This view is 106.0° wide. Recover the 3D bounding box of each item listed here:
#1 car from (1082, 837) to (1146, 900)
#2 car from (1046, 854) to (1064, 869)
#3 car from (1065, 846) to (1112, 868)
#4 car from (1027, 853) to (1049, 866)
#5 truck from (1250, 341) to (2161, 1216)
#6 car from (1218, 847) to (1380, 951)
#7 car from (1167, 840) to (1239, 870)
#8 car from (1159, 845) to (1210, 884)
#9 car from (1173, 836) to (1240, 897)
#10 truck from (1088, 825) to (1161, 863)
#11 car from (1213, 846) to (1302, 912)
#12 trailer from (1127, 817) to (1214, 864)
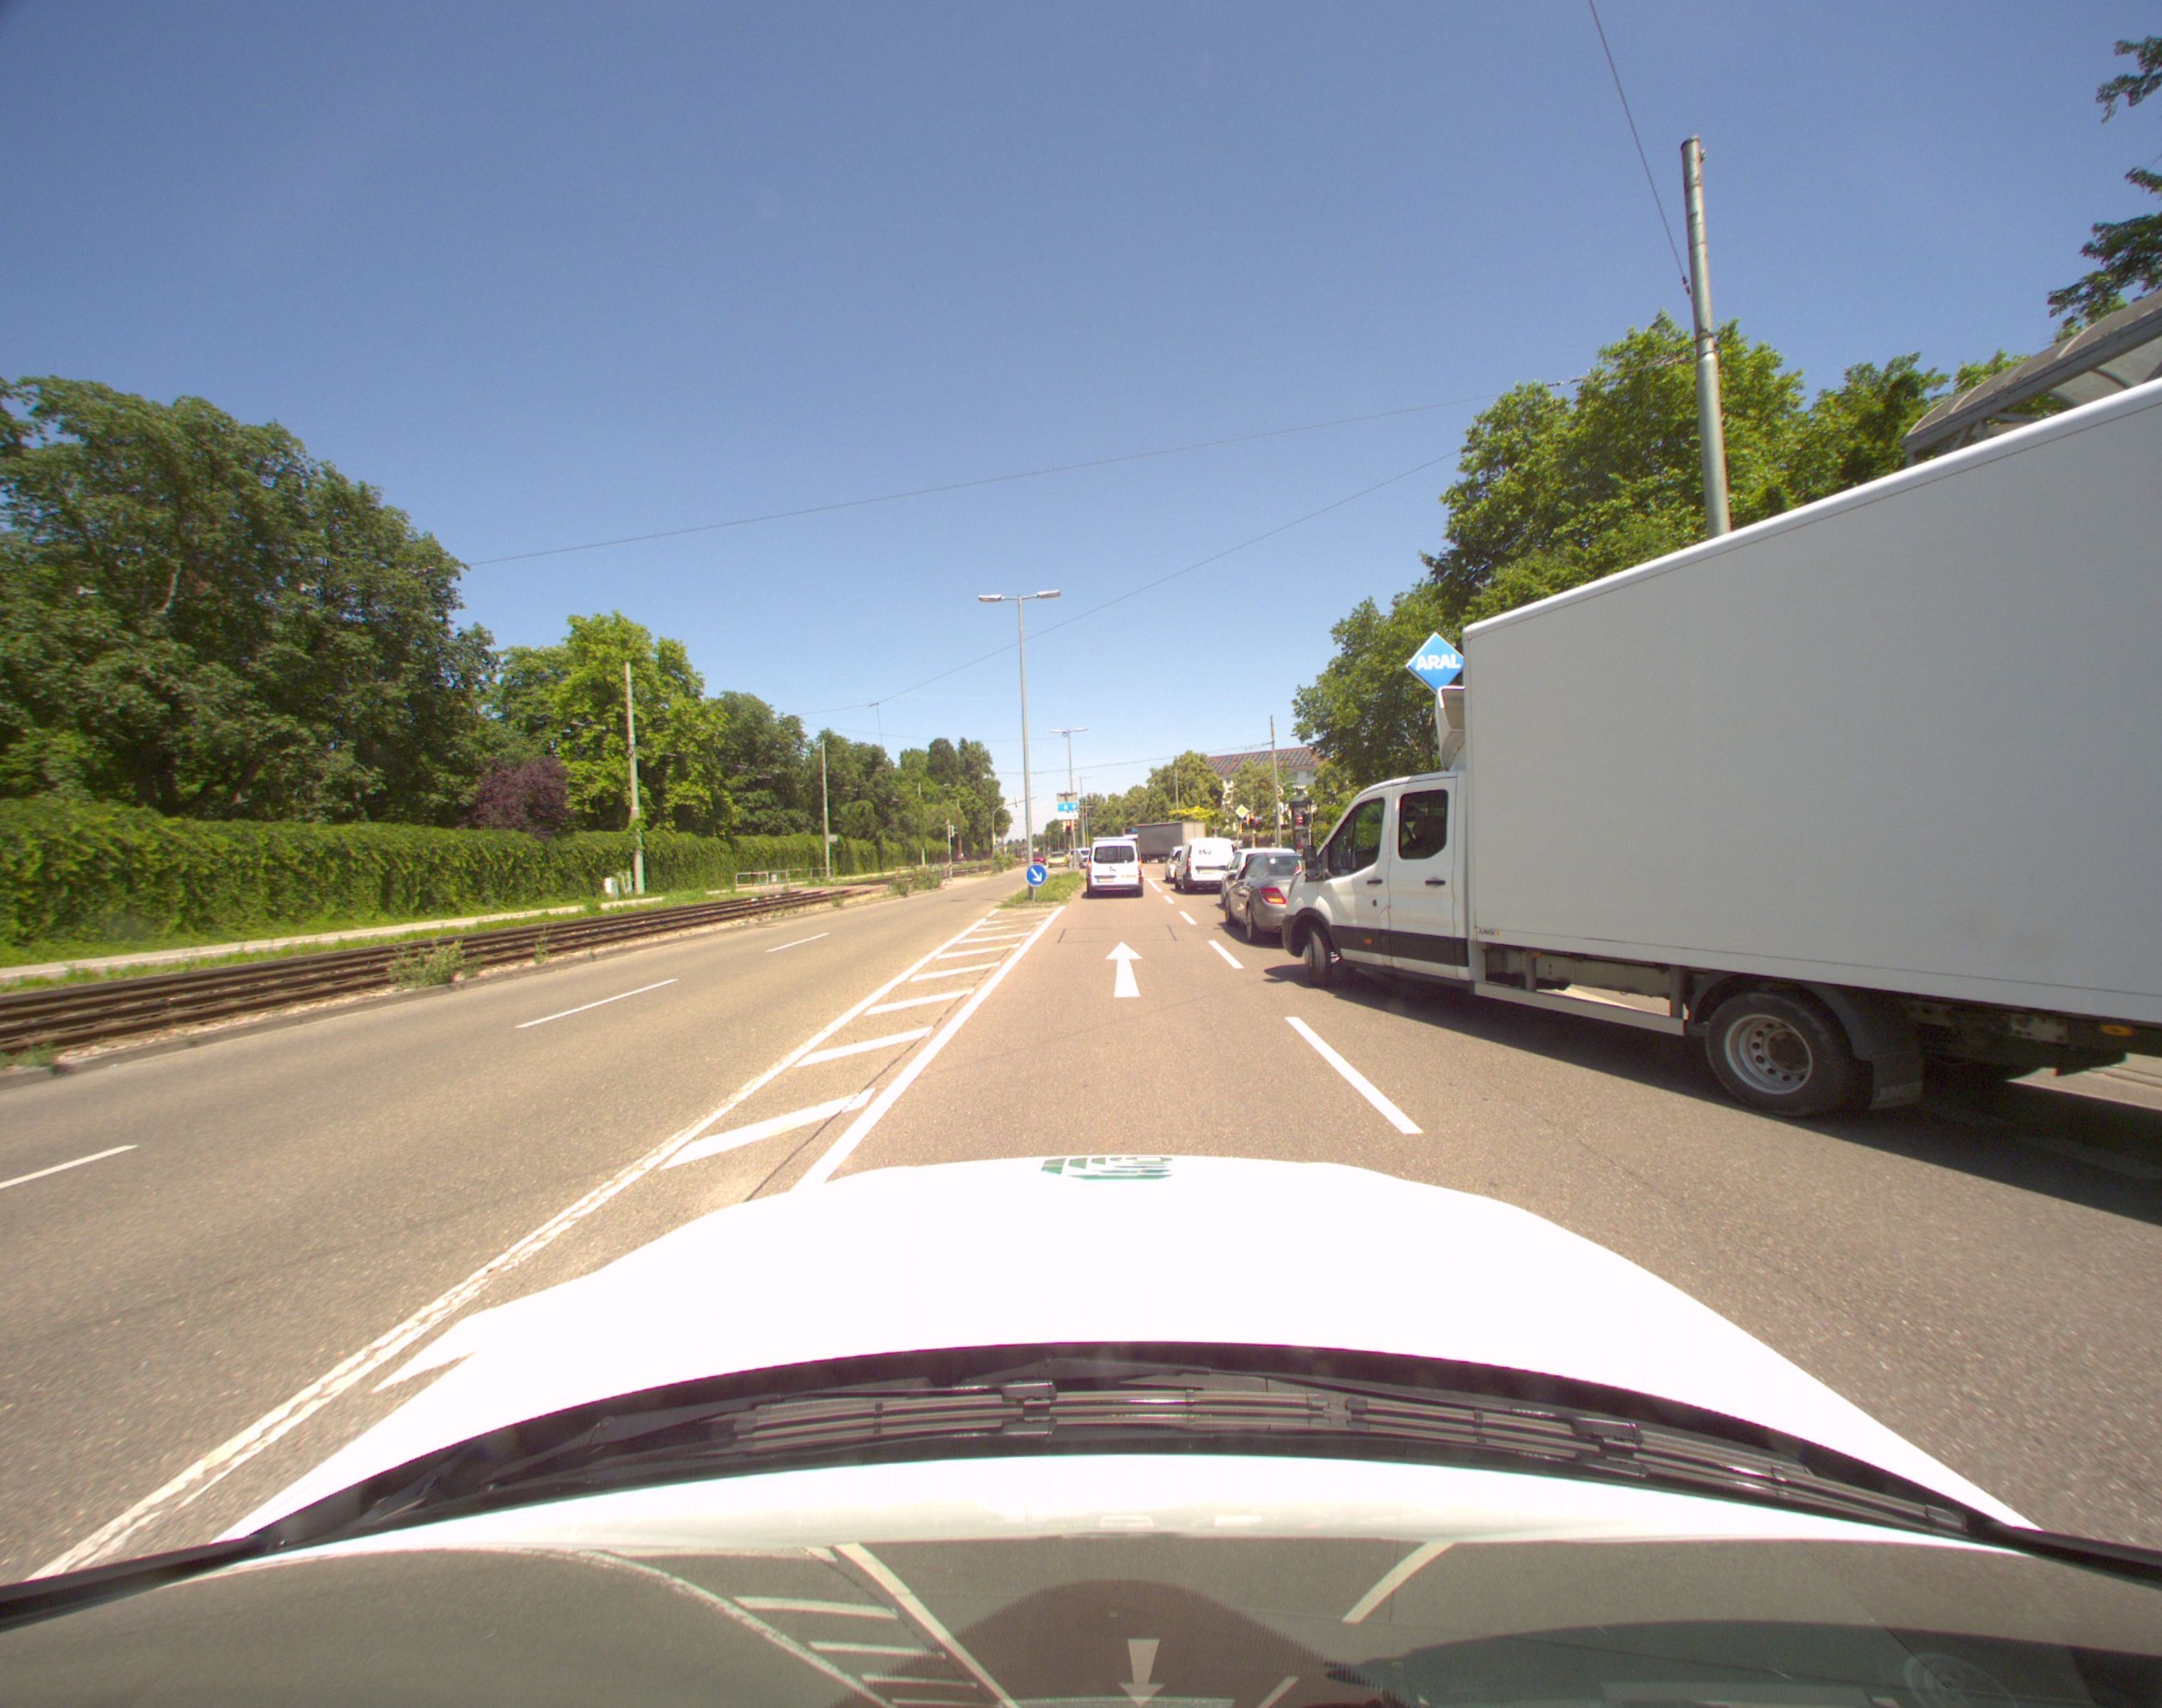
[{"bbox_3d":[1.030,0.417,26.339,1.860,1.836,3.850,-1,0,1],"label":"car"},{"bbox_3d":[-2.441,0.691,77.640,1.534,1.379,4.002,-2,0,0],"label":"car"},{"bbox_3d":[0.549,0.248,65.885,2.004,1.617,4.417,-2,0,-26],"label":"car"},{"bbox_3d":[-4.812,0.583,91.832,1.976,1.358,4.542,-2,0,3],"label":"car"},{"bbox_3d":[4.423,-0.295,6.428,2.426,3.391,7.785,-2,0,-18],"label":"truck"},{"bbox_3d":[3.540,0.640,14.074,1.788,1.449,4.421,-2,0,3],"label":"car"},{"bbox_3d":[8.335,0.062,55.475,4.489,1.829,2.009,-2,0,17],"label":"car"},{"bbox_3d":[4.385,0.402,34.857,1.749,1.486,4.002,-3,0,2],"label":"car"},{"bbox_3d":[4.093,0.373,27.048,1.703,1.830,4.016,-2,0,2],"label":"car"},{"bbox_3d":[4.367,-0.960,84.663,3.596,3.632,8.731,-2,0,-27],"label":"truck"},{"bbox_3d":[4.239,0.570,20.015,1.600,1.451,3.523,-1,0,3],"label":"car"},{"bbox_3d":[8.320,-1.218,76.881,3.549,4.050,8.892,-2,0,-29],"label":"trailer"}]
